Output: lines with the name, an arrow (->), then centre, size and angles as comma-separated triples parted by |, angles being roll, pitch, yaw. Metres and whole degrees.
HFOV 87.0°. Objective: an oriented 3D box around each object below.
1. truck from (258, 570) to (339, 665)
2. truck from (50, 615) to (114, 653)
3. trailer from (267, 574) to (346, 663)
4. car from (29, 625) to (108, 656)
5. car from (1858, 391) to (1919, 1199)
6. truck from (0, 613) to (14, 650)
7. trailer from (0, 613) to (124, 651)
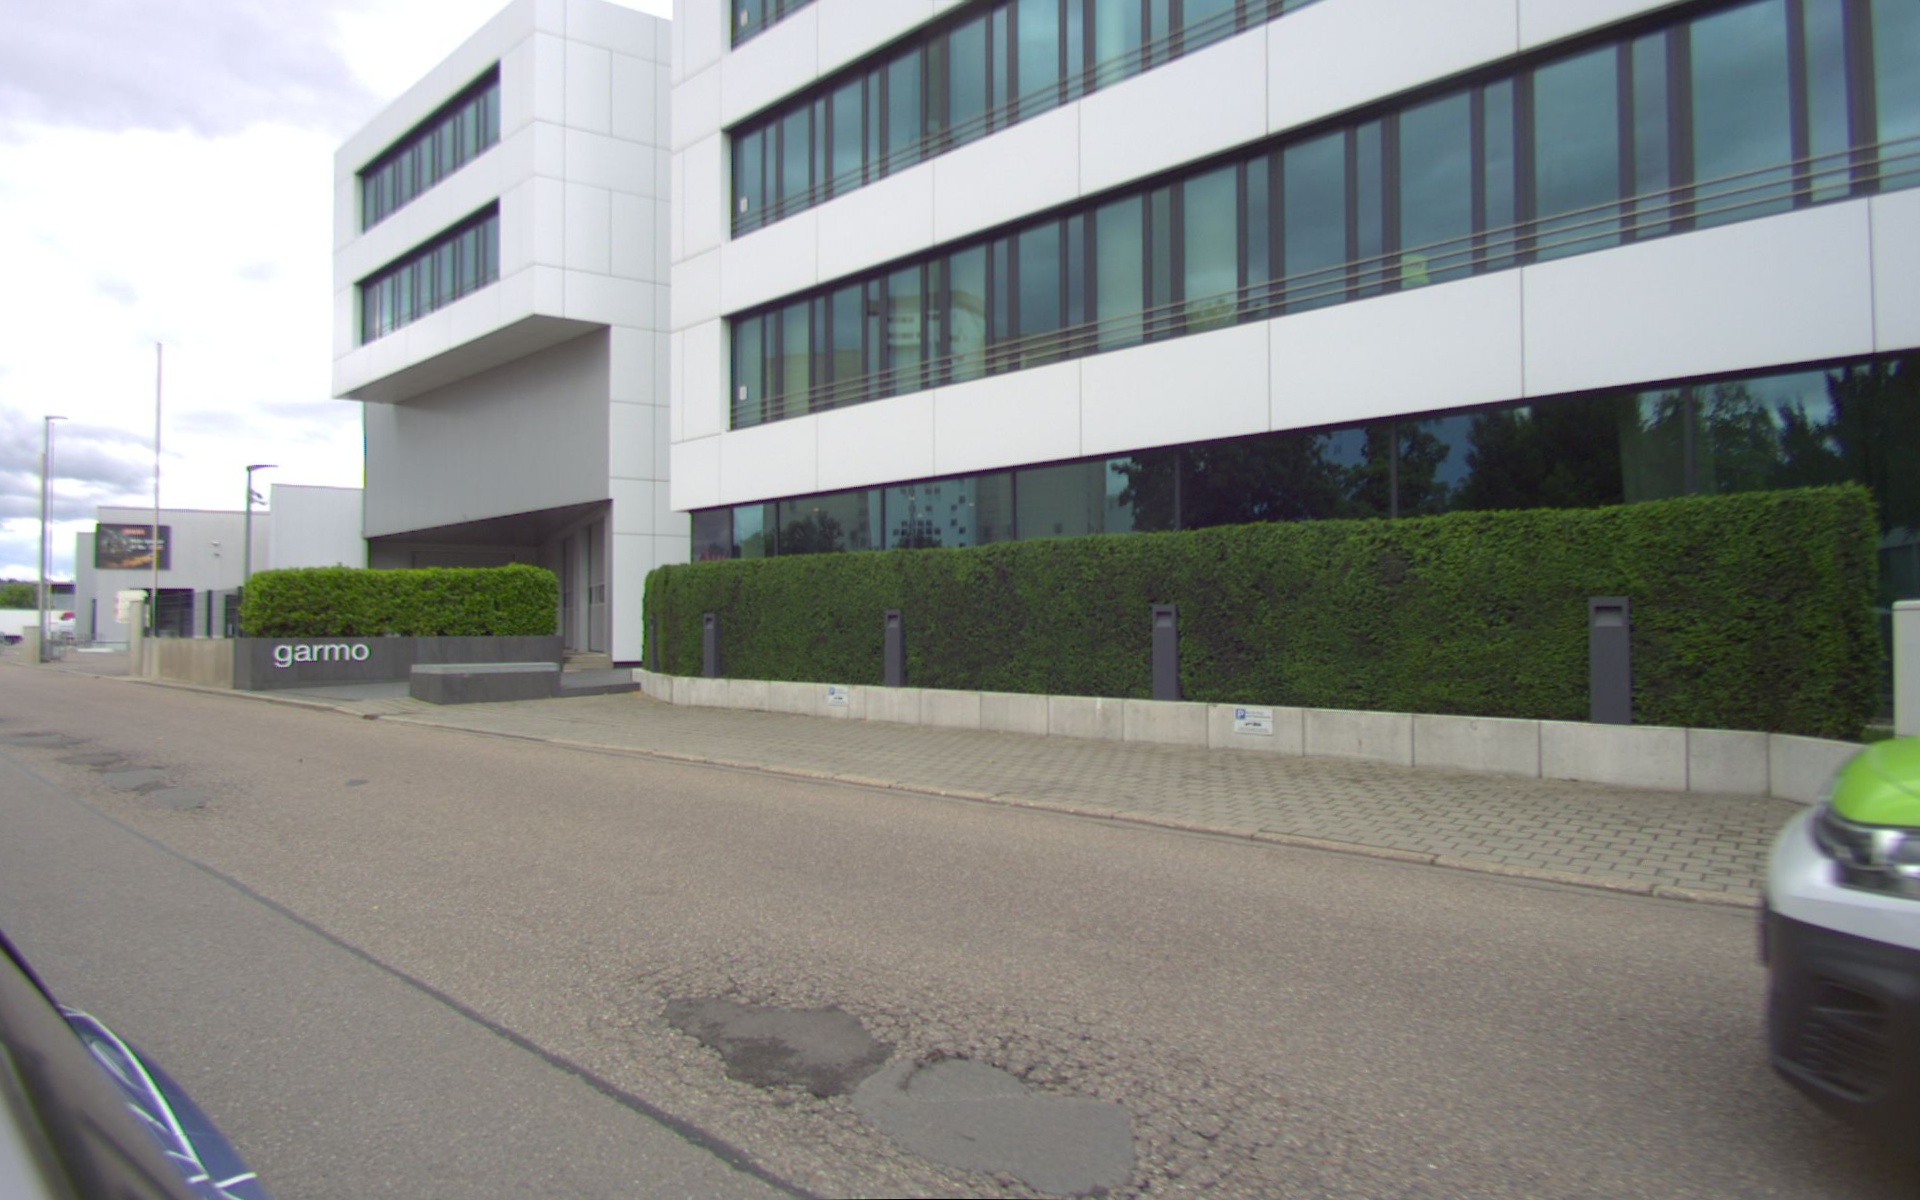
truck -> -30.765, 0.868, 47.323 | 2.704, 4.062, 7.114 | 0, -2, -29
truck -> -101.928, 3.954, 117.559 | 4.798, 4.237, 3.058 | 2, -4, -28
trailer -> -33.744, 1.065, 52.635 | 2.704, 4.062, 12.655 | 0, -2, -29
car -> -84.875, 3.812, 96.463 | 5.342, 2.751, 2.248 | -1, -2, -31
car -> 4.147, 0.401, 1.441 | 4.203, 1.777, 1.789 | -2, -1, 41
truck -> -112.392, 3.583, 116.308 | 3.046, 4.164, 4.816 | -2, -4, 41
trailer -> -107.349, 3.864, 120.243 | 11.842, 4.164, 3.057 | 3, -4, -31
